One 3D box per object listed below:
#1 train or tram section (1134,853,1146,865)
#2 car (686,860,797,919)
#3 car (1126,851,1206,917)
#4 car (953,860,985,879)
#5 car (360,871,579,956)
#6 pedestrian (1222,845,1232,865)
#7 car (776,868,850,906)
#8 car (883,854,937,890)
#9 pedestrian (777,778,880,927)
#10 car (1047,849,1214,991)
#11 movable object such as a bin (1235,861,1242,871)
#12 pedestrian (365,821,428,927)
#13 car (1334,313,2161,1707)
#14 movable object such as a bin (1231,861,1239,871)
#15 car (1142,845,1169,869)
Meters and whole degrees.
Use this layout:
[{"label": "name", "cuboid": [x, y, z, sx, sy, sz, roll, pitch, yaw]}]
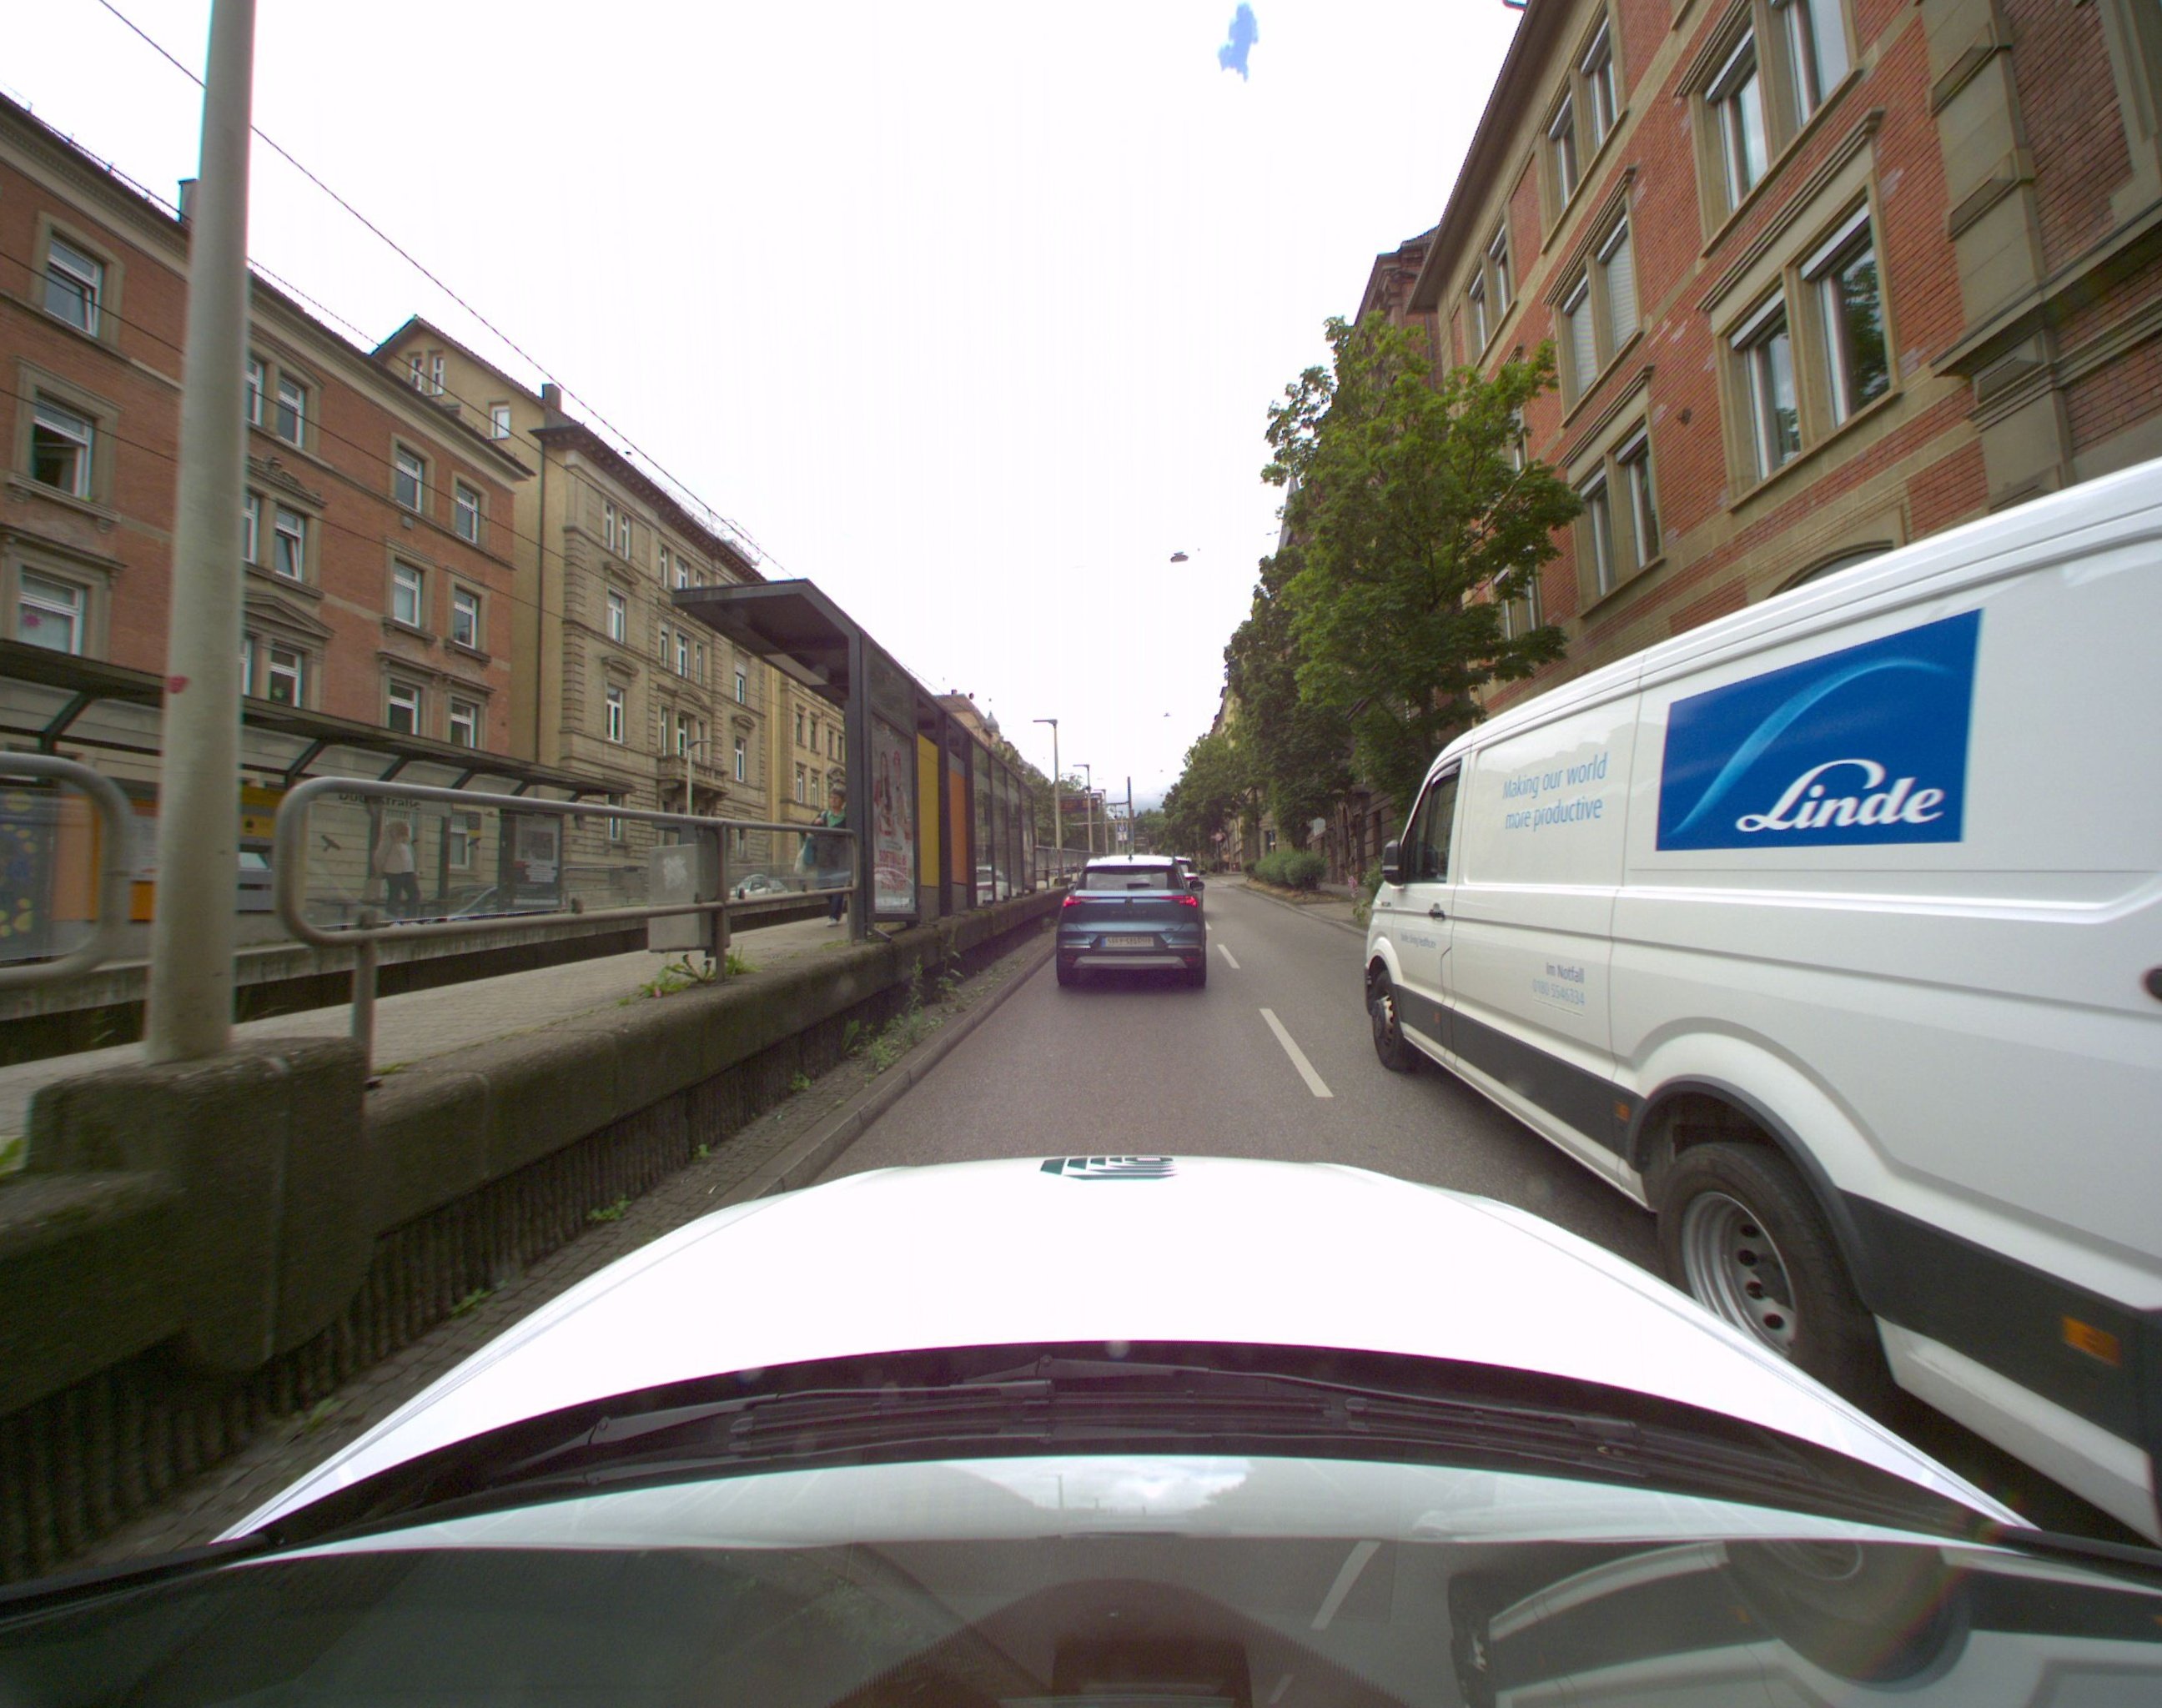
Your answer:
[{"label": "train or tram section", "cuboid": [18.000, 1.613, 246.612, 2.980, 3.349, 13.462, -2, -1, 7]}, {"label": "car", "cuboid": [-11.240, 1.127, 27.252, 1.814, 1.764, 3.869, -2, 0, 4]}, {"label": "car", "cuboid": [2.331, 0.750, 21.418, 1.825, 1.546, 4.204, -1, -1, 9]}, {"label": "car", "cuboid": [-9.120, 1.229, 66.668, 1.760, 1.471, 4.266, -1, 0, 4]}, {"label": "car", "cuboid": [-14.957, 1.361, 20.301, 1.837, 1.734, 4.387, -2, 0, 5]}, {"label": "pedestrian", "cuboid": [13.755, 0.124, 76.621, 0.682, 1.829, 1.123, -4, -2, 5]}, {"label": "car", "cuboid": [-13.121, 1.565, 40.193, 1.854, 1.646, 4.420, -2, -1, 4]}, {"label": "car", "cuboid": [-11.639, 1.194, 55.952, 1.984, 2.305, 5.463, -2, -1, 6]}, {"label": "pedestrian", "cuboid": [-2.742, -0.016, 8.926, 0.762, 1.524, 0.904, -2, 0, 1]}, {"label": "car", "cuboid": [0.761, 0.753, 11.054, 1.826, 1.546, 4.200, -1, -1, 6]}, {"label": "movable object such as a bin", "cuboid": [14.422, 1.119, 74.509, 0.495, 0.919, 0.446, -3, -1, 25]}, {"label": "pedestrian", "cuboid": [-10.388, 0.297, 12.370, 0.460, 1.562, 0.541, -2, -1, 5]}, {"label": "car", "cuboid": [3.047, 0.294, 3.957, 2.246, 2.287, 5.976, -1, 0, 5]}, {"label": "movable object such as a bin", "cuboid": [14.319, 1.130, 75.770, 0.608, 0.919, 0.494, -4, -1, 8]}, {"label": "car", "cuboid": [5.223, 0.237, 56.863, 1.826, 1.546, 4.200, -1, -1, 6]}]
